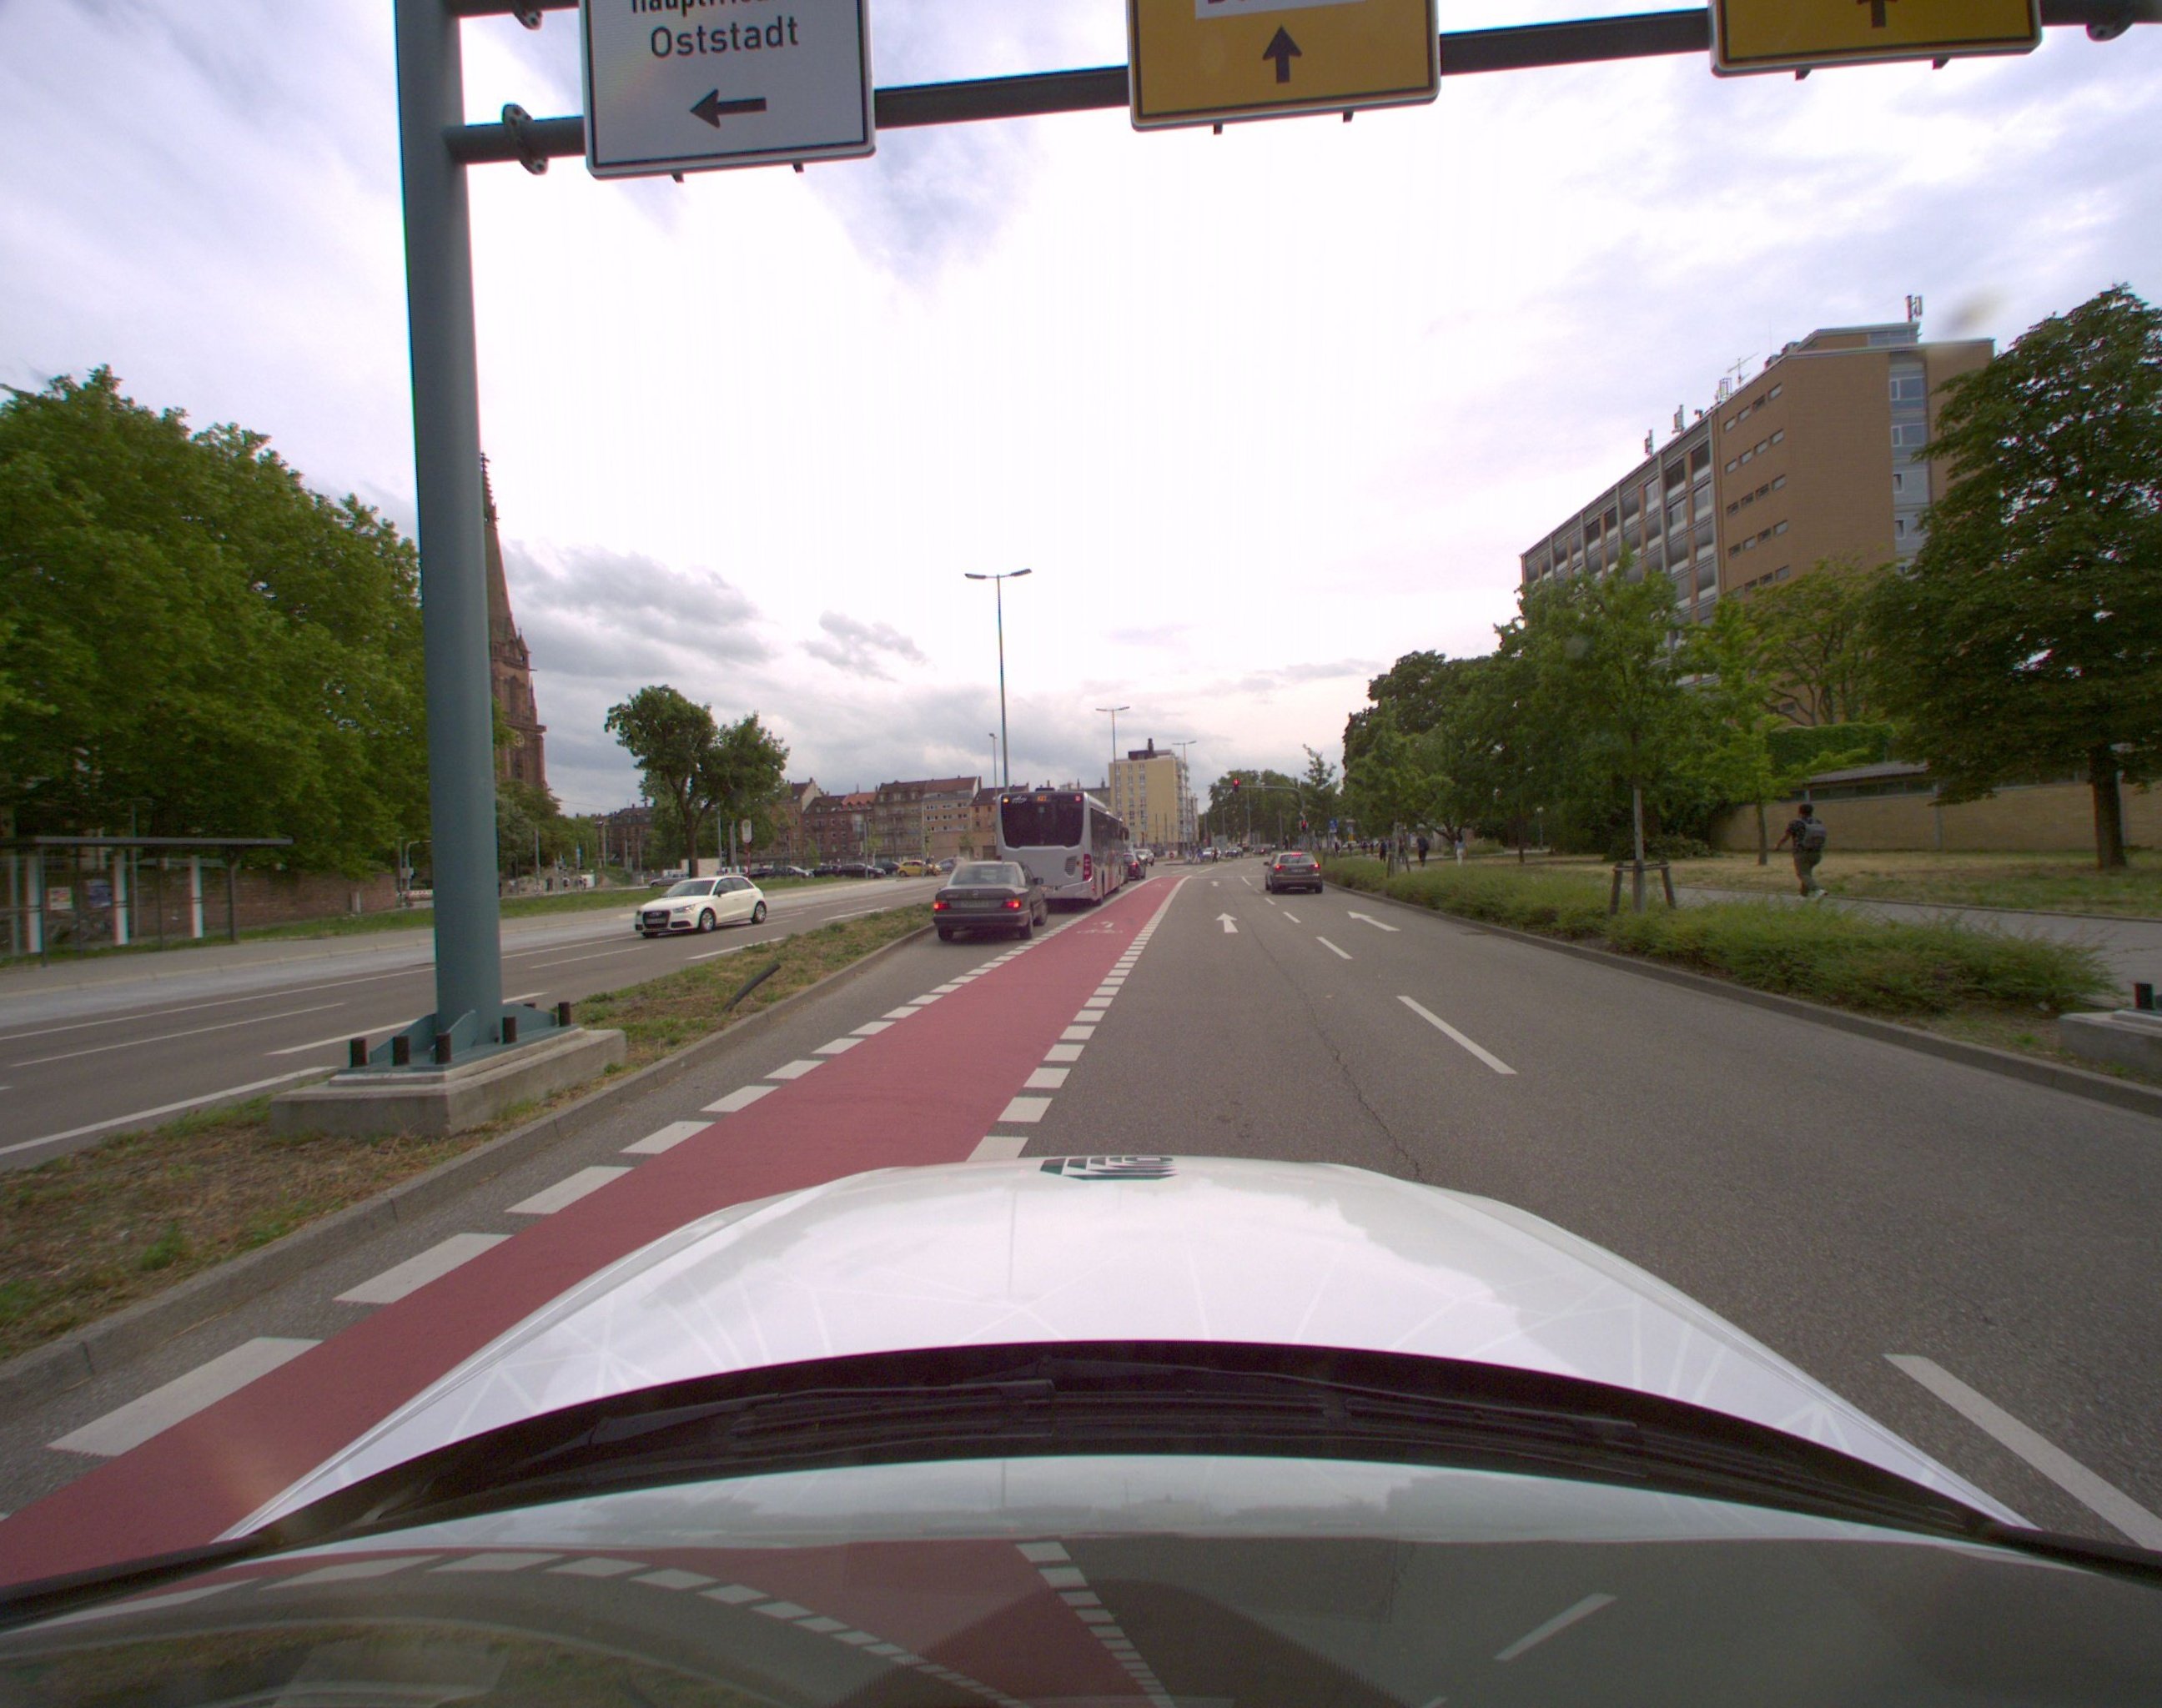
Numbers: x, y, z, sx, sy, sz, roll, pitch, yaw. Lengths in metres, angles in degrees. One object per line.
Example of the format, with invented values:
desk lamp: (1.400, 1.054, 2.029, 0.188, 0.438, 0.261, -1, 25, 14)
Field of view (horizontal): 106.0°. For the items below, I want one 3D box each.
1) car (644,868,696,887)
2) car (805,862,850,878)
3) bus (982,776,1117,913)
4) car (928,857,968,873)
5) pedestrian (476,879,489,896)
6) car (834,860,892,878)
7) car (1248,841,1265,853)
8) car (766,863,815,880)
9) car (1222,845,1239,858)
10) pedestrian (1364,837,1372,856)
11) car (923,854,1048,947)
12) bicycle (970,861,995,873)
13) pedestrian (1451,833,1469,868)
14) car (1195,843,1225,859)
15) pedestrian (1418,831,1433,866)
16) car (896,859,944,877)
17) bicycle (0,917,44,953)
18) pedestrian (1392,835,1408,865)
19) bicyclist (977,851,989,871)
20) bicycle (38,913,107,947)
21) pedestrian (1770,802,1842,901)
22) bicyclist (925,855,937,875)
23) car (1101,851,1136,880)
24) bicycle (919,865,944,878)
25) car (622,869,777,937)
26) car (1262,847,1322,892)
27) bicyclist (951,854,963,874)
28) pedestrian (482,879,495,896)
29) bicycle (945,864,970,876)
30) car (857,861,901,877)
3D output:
car: (-39.959, 2.272, 79.295, 4.138, 1.649, 1.647, -3, 0, 1)
car: (-24.089, 1.519, 77.382, 3.748, 1.394, 1.586, -1, 0, 2)
bus: (-0.648, -0.269, 24.941, 2.817, 3.390, 8.197, -2, 0, 6)
car: (-12.673, 1.064, 77.425, 3.675, 1.394, 1.578, -1, 0, -12)
pedestrian: (-54.890, 3.070, 74.666, 0.559, 1.560, 0.726, -3, 0, 2)
car: (-19.486, 1.369, 72.832, 4.650, 1.475, 1.662, -1, 0, 2)
car: (30.096, -1.232, 139.726, 1.975, 2.013, 4.024, -3, 0, 25)
car: (-26.095, 1.561, 73.232, 3.748, 1.394, 1.586, -1, 0, 2)
car: (23.442, -0.441, 127.773, 1.791, 1.850, 4.022, -3, 0, 23)
pedestrian: (29.811, -0.798, 84.723, 0.611, 2.013, 0.598, -2, 0, 6)
car: (-1.698, 0.784, 15.812, 1.755, 1.489, 4.173, -2, 0, 2)
bicycle: (-8.372, 1.110, 69.376, 1.955, 0.982, 0.632, -3, 0, 5)
pedestrian: (16.156, -0.152, 34.708, 0.651, 1.470, 0.565, -3, 0, 25)
car: (18.764, -0.517, 118.257, 2.559, 2.109, 5.635, -2, 0, 28)
pedestrian: (17.323, -0.298, 40.932, 0.640, 1.713, 0.565, -3, 0, 23)
car: (-14.339, 1.246, 72.737, 3.840, 1.517, 1.662, -1, 0, 2)
bicycle: (-30.430, 2.305, 23.050, 0.482, 0.907, 1.612, 0, -1, -16)
pedestrian: (19.158, -0.245, 48.937, 0.795, 1.713, 0.769, -3, 0, 21)
bicyclist: (-8.339, 0.621, 69.373, 0.782, 1.643, 0.615, -3, 0, 5)
bicycle: (-30.918, 2.317, 24.987, 0.482, 0.907, 1.612, 0, -1, -16)
pedestrian: (12.879, -0.049, 14.484, 0.584, 1.682, 0.750, -3, 0, 8)
bicyclist: (-12.921, 0.928, 70.119, 0.783, 1.643, 0.573, -3, 0, 2)
car: (2.053, 0.599, 43.654, 1.647, 1.396, 3.866, -2, 0, 5)
bicycle: (-12.903, 1.513, 70.121, 1.956, 0.982, 0.631, -3, 0, 2)
car: (-9.752, 1.196, 21.192, 1.661, 1.389, 3.932, -4, 0, 8)
car: (7.551, 0.520, 29.473, 1.714, 1.457, 3.746, -2, 0, 9)
bicyclist: (-10.621, 0.845, 69.860, 0.782, 1.643, 0.573, -3, 0, 7)
pedestrian: (-53.962, 3.049, 74.184, 0.559, 1.560, 0.726, -3, 0, 2)
bicycle: (-10.567, 1.378, 69.865, 1.954, 0.982, 0.632, -3, 0, 6)
car: (-19.127, 1.411, 77.301, 3.748, 1.394, 1.586, -1, 0, 2)
